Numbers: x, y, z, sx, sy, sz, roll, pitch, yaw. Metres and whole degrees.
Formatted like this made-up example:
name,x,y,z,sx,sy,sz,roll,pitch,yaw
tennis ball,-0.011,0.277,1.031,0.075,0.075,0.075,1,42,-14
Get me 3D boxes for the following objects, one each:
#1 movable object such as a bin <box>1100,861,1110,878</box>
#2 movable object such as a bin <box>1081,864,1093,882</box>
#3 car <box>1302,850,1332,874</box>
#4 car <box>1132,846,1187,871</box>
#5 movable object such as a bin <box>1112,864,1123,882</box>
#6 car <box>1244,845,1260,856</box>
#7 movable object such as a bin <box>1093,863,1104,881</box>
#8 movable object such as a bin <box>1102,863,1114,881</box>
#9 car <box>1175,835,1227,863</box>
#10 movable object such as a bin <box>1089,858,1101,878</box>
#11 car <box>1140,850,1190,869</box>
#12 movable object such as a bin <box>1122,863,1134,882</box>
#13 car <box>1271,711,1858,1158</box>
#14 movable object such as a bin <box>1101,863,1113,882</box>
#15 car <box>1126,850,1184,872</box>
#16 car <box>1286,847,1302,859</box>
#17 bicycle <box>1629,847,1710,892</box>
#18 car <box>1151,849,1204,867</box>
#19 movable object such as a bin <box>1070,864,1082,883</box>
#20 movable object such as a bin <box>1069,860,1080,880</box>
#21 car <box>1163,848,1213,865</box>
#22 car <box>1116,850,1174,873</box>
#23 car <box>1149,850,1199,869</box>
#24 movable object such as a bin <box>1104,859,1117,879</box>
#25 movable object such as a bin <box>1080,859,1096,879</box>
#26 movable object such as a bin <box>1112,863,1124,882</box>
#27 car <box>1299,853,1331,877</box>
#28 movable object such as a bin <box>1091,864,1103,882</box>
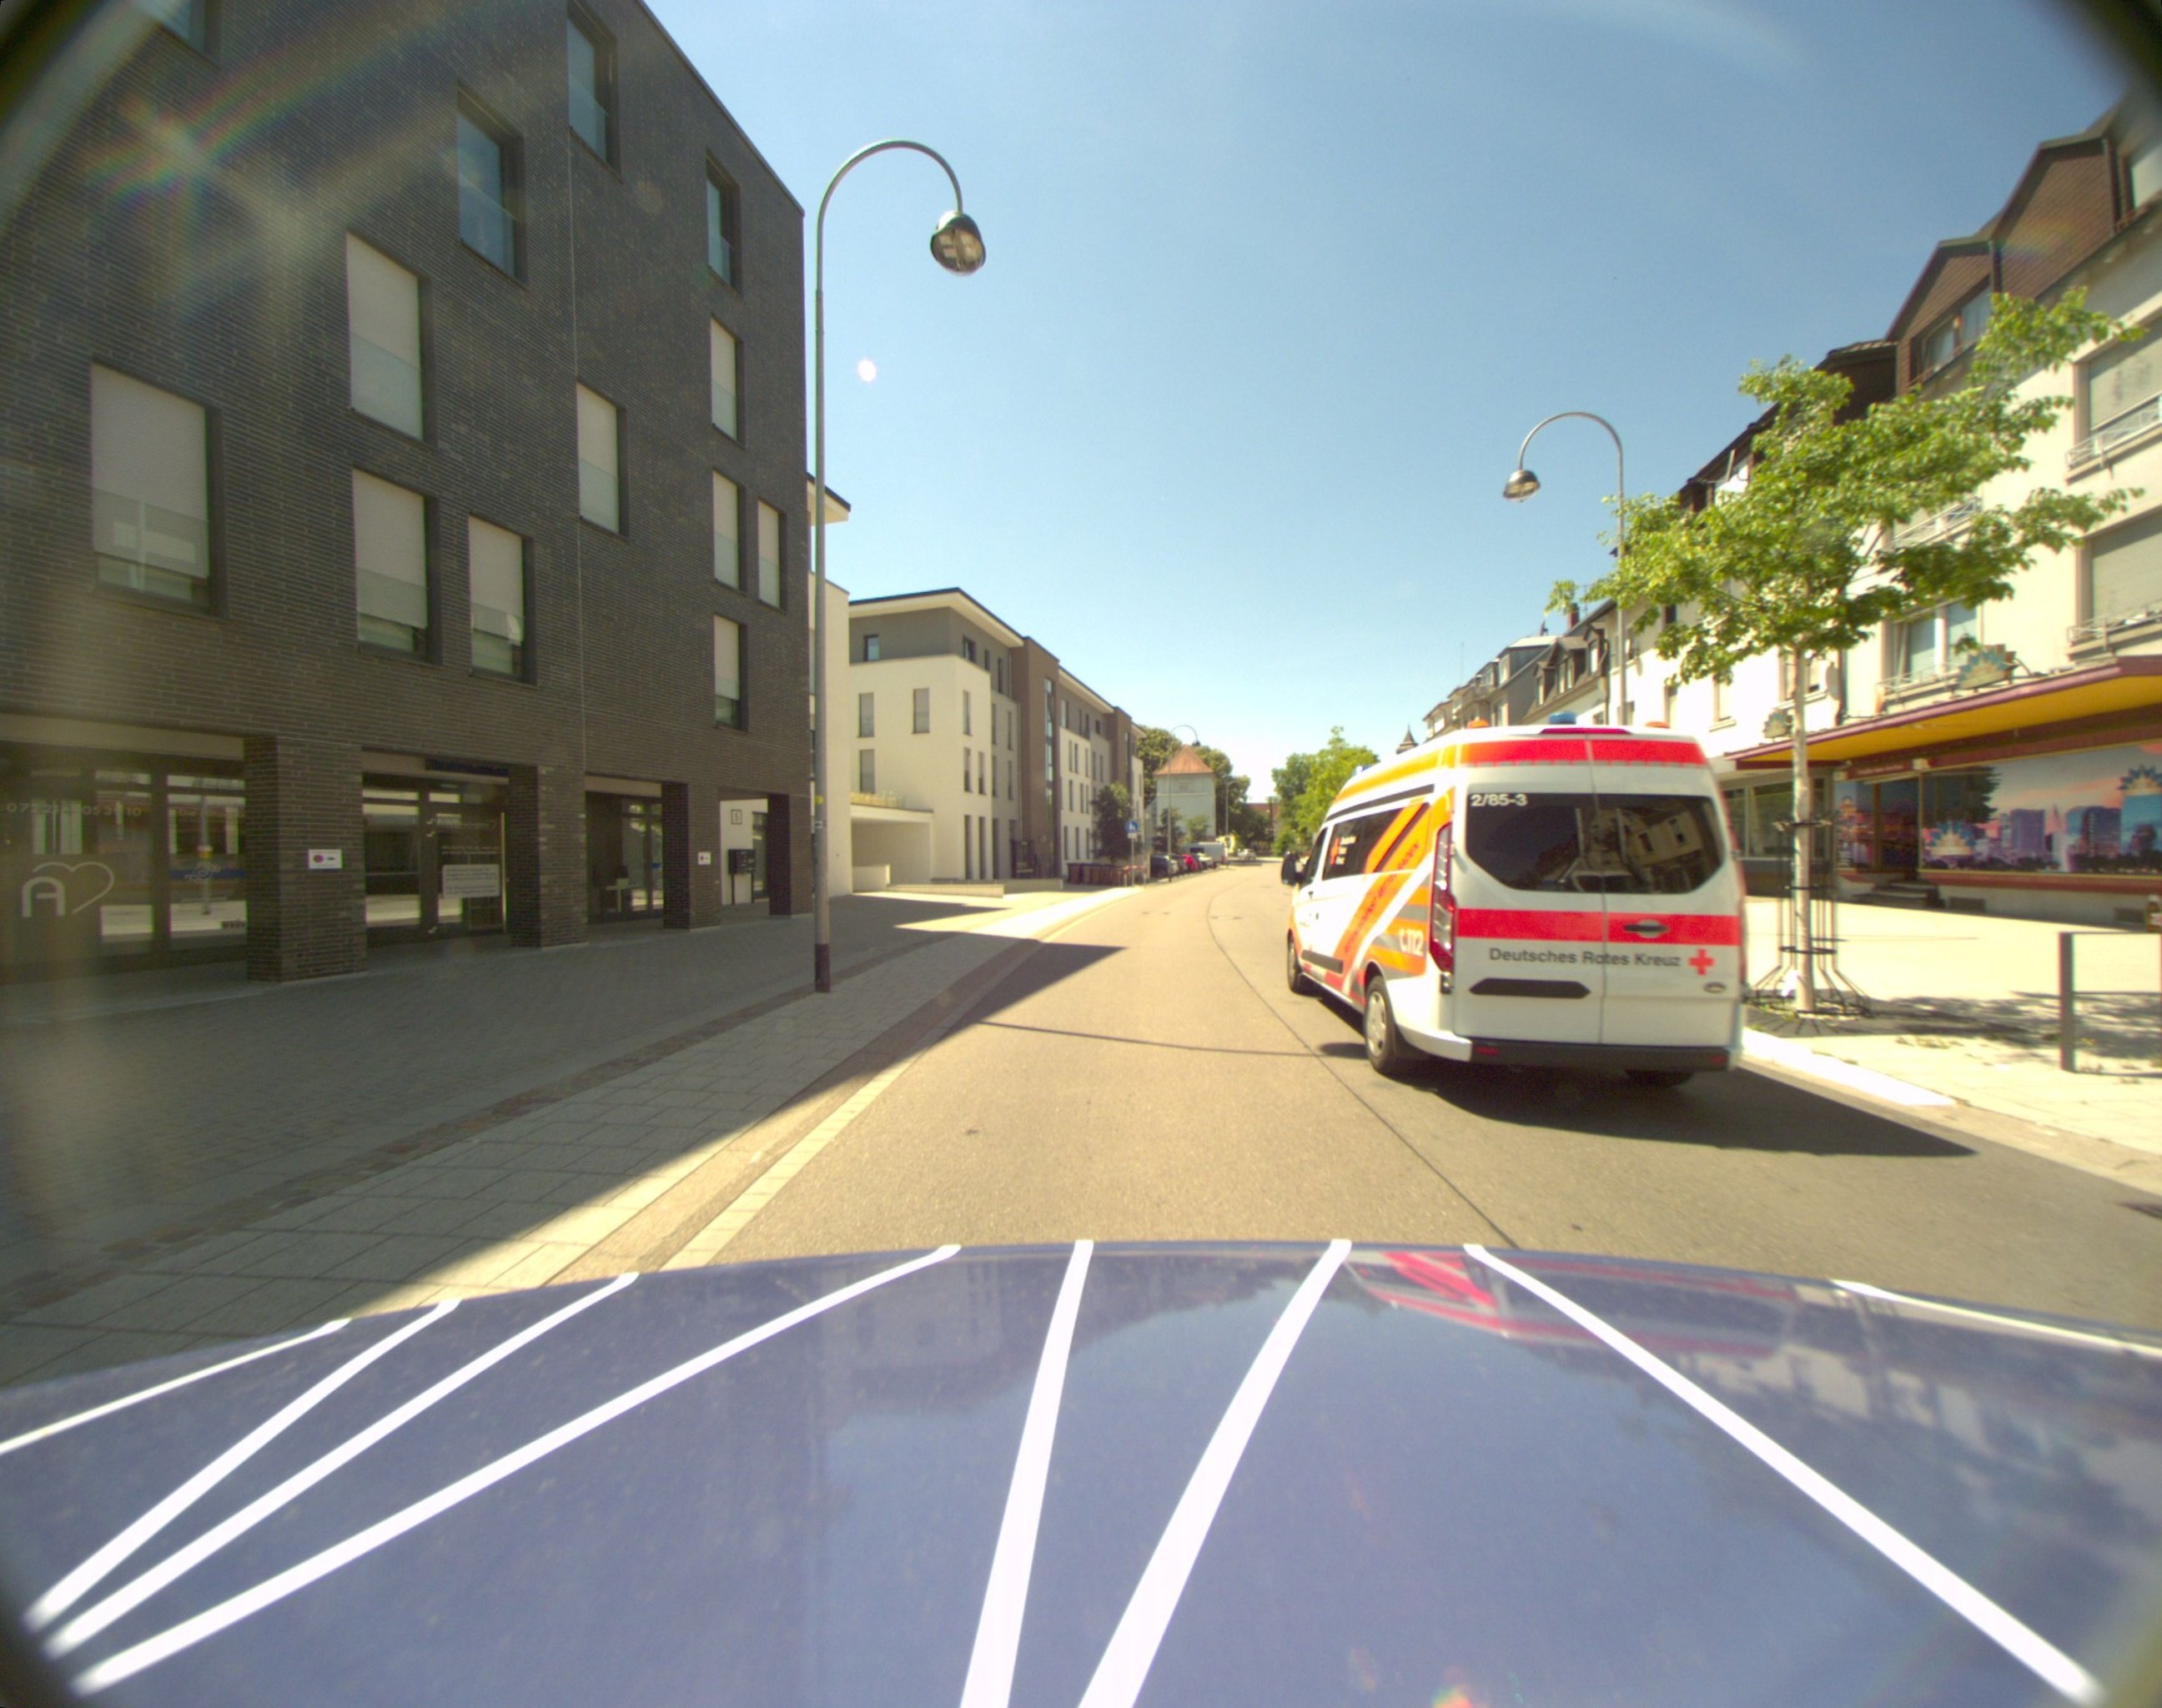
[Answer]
name,x,y,z,sx,sy,sz,roll,pitch,yaw
movable object such as a bin,1.359,0.871,42.393,0.485,0.926,0.468,2,2,11
movable object such as a bin,0.312,0.976,39.135,0.474,0.925,0.529,1,2,16
car,16.533,0.542,53.169,1.683,1.475,3.774,-4,0,21
car,5.817,0.292,56.094,3.813,1.776,1.842,0,1,14
movable object such as a bin,1.858,0.964,38.718,0.474,0.925,0.529,1,2,16
car,26.067,-0.548,115.766,1.684,1.475,4.087,3,1,4
movable object such as a bin,0.917,0.926,39.584,0.465,0.925,0.523,1,2,16
movable object such as a bin,1.411,0.934,39.423,0.465,0.925,0.523,1,2,16
car,11.912,-0.501,75.210,4.861,2.720,1.853,0,1,16
movable object such as a bin,0.781,0.791,42.365,0.647,1.054,0.625,1,2,4
car,6.537,0.415,59.036,3.612,1.454,1.618,1,1,15
movable object such as a bin,2.413,0.963,39.150,0.474,0.925,0.529,1,2,16
car,3.212,0.409,6.695,2.161,2.348,5.249,1,0,5
movable object such as a bin,1.310,0.955,38.861,0.474,0.925,0.529,1,2,16
car,5.183,0.486,53.295,3.813,1.474,1.780,0,1,14
car,26.512,-0.118,94.645,1.618,1.445,3.867,1,1,12
bicycle,17.557,0.465,22.706,1.767,1.227,0.617,-3,0,15
car,8.325,0.340,65.618,4.353,1.542,1.653,0,1,13
movable object such as a bin,-0.265,1.015,39.368,0.474,0.925,0.529,1,2,16
movable object such as a bin,-0.339,0.864,40.969,0.570,1.036,0.560,1,2,2
car,9.966,0.202,70.692,4.375,1.520,1.721,0,0,16
car,4.353,0.498,51.593,3.661,1.437,1.537,2,2,18
car,7.531,0.450,61.224,3.813,1.454,1.654,0,1,15
movable object such as a bin,1.610,0.827,41.550,0.569,1.054,0.561,2,2,17
movable object such as a bin,0.386,0.803,41.745,0.646,1.054,0.626,2,2,17
movable object such as a bin,1.911,0.946,39.283,0.467,0.925,0.529,1,2,16
car,14.849,0.641,48.294,1.756,1.437,4.454,0,0,15
movable object such as a bin,0.803,0.969,39.004,0.474,0.925,0.529,1,2,16
